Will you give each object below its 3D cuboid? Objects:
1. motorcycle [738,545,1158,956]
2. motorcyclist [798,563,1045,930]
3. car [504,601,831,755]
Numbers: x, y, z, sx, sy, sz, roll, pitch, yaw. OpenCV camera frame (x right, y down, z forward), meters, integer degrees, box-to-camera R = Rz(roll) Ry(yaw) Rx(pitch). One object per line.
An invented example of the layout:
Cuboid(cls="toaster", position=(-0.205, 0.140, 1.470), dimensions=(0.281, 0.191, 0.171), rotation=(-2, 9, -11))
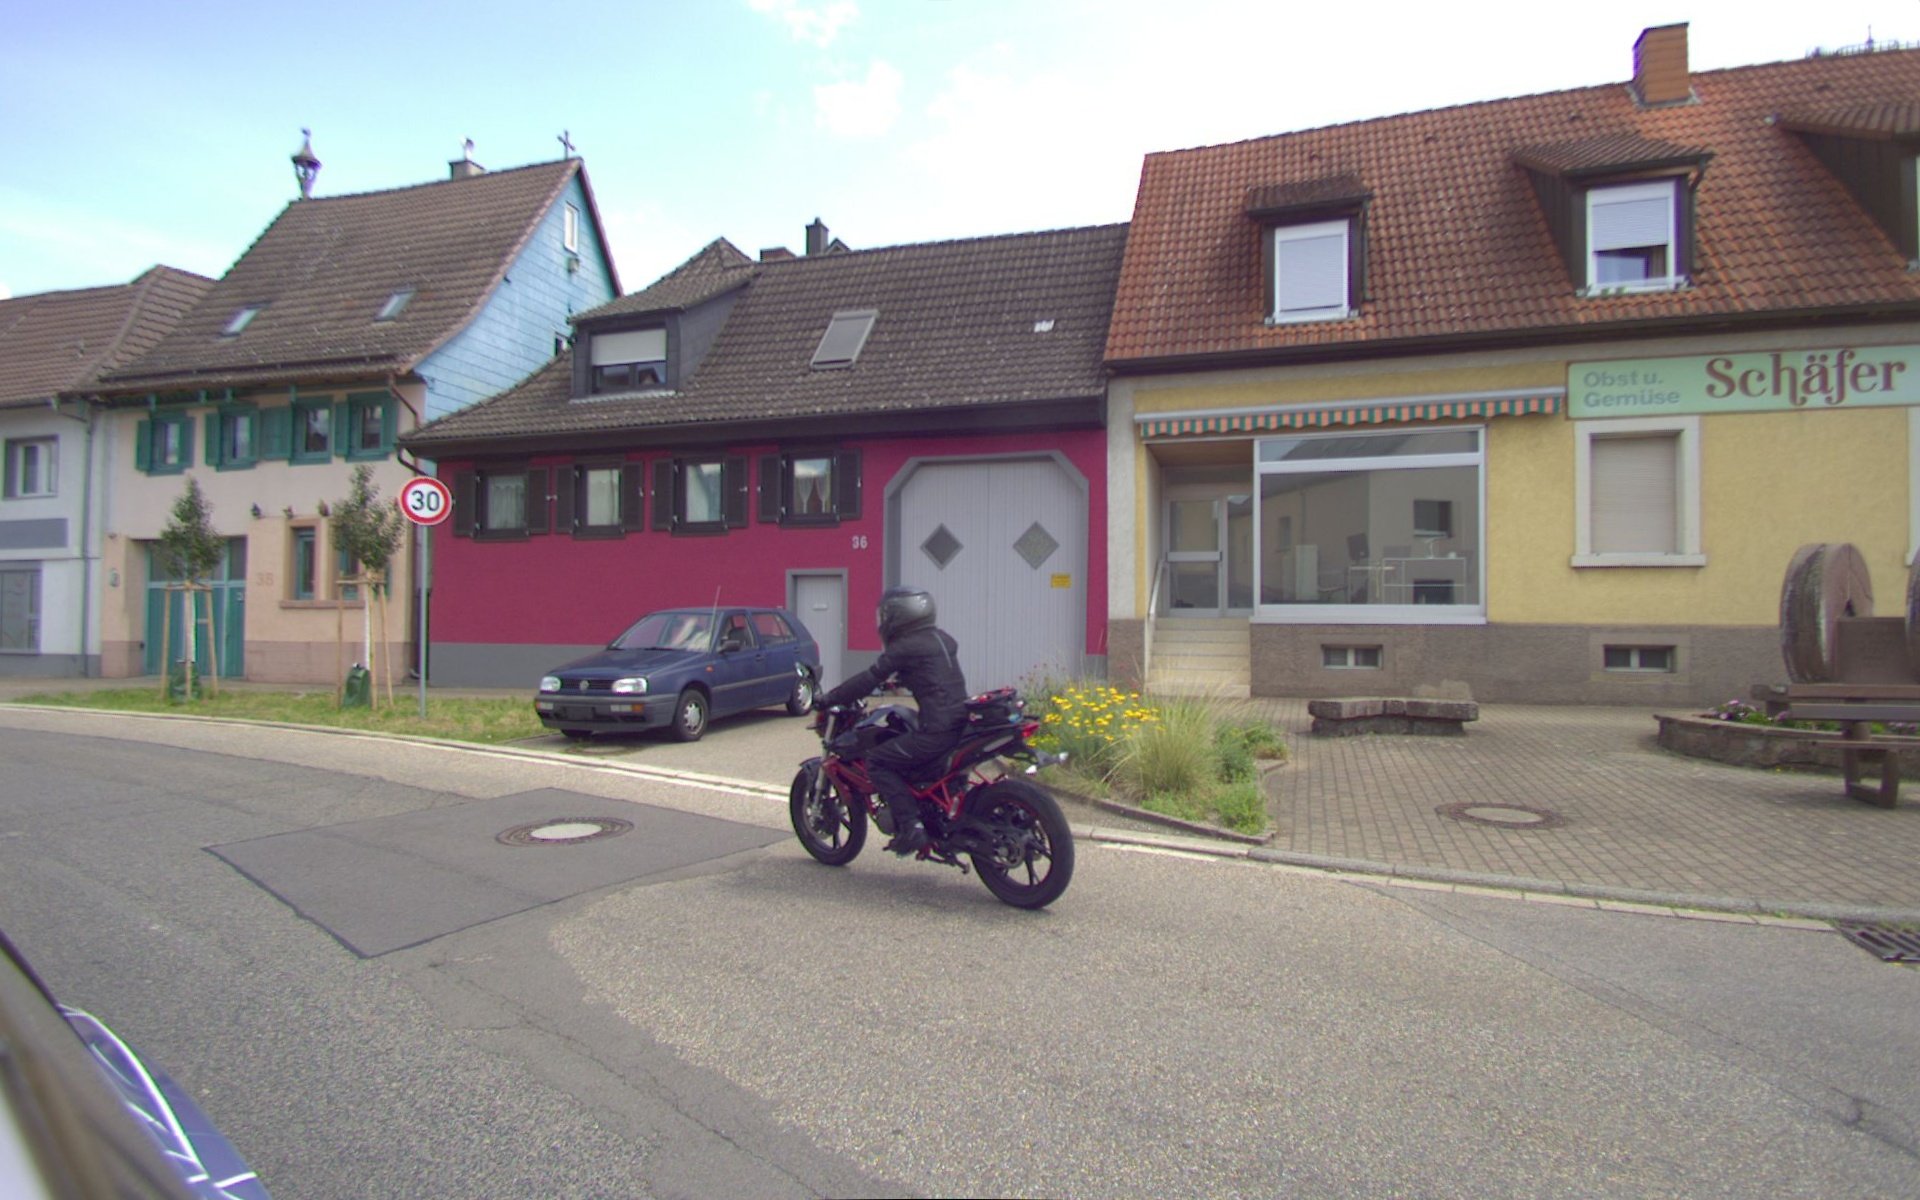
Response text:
Cuboid(cls="motorcycle", position=(-0.137, 0.604, 4.890), dimensions=(1.967, 1.573, 0.870), rotation=(-2, -2, 43))
Cuboid(cls="motorcyclist", position=(-0.182, 0.639, 4.939), dimensions=(0.807, 1.566, 0.887), rotation=(-2, -2, 42))
Cuboid(cls="car", position=(-3.179, 0.754, 11.876), dimensions=(1.708, 1.475, 3.953), rotation=(0, 0, 20))
